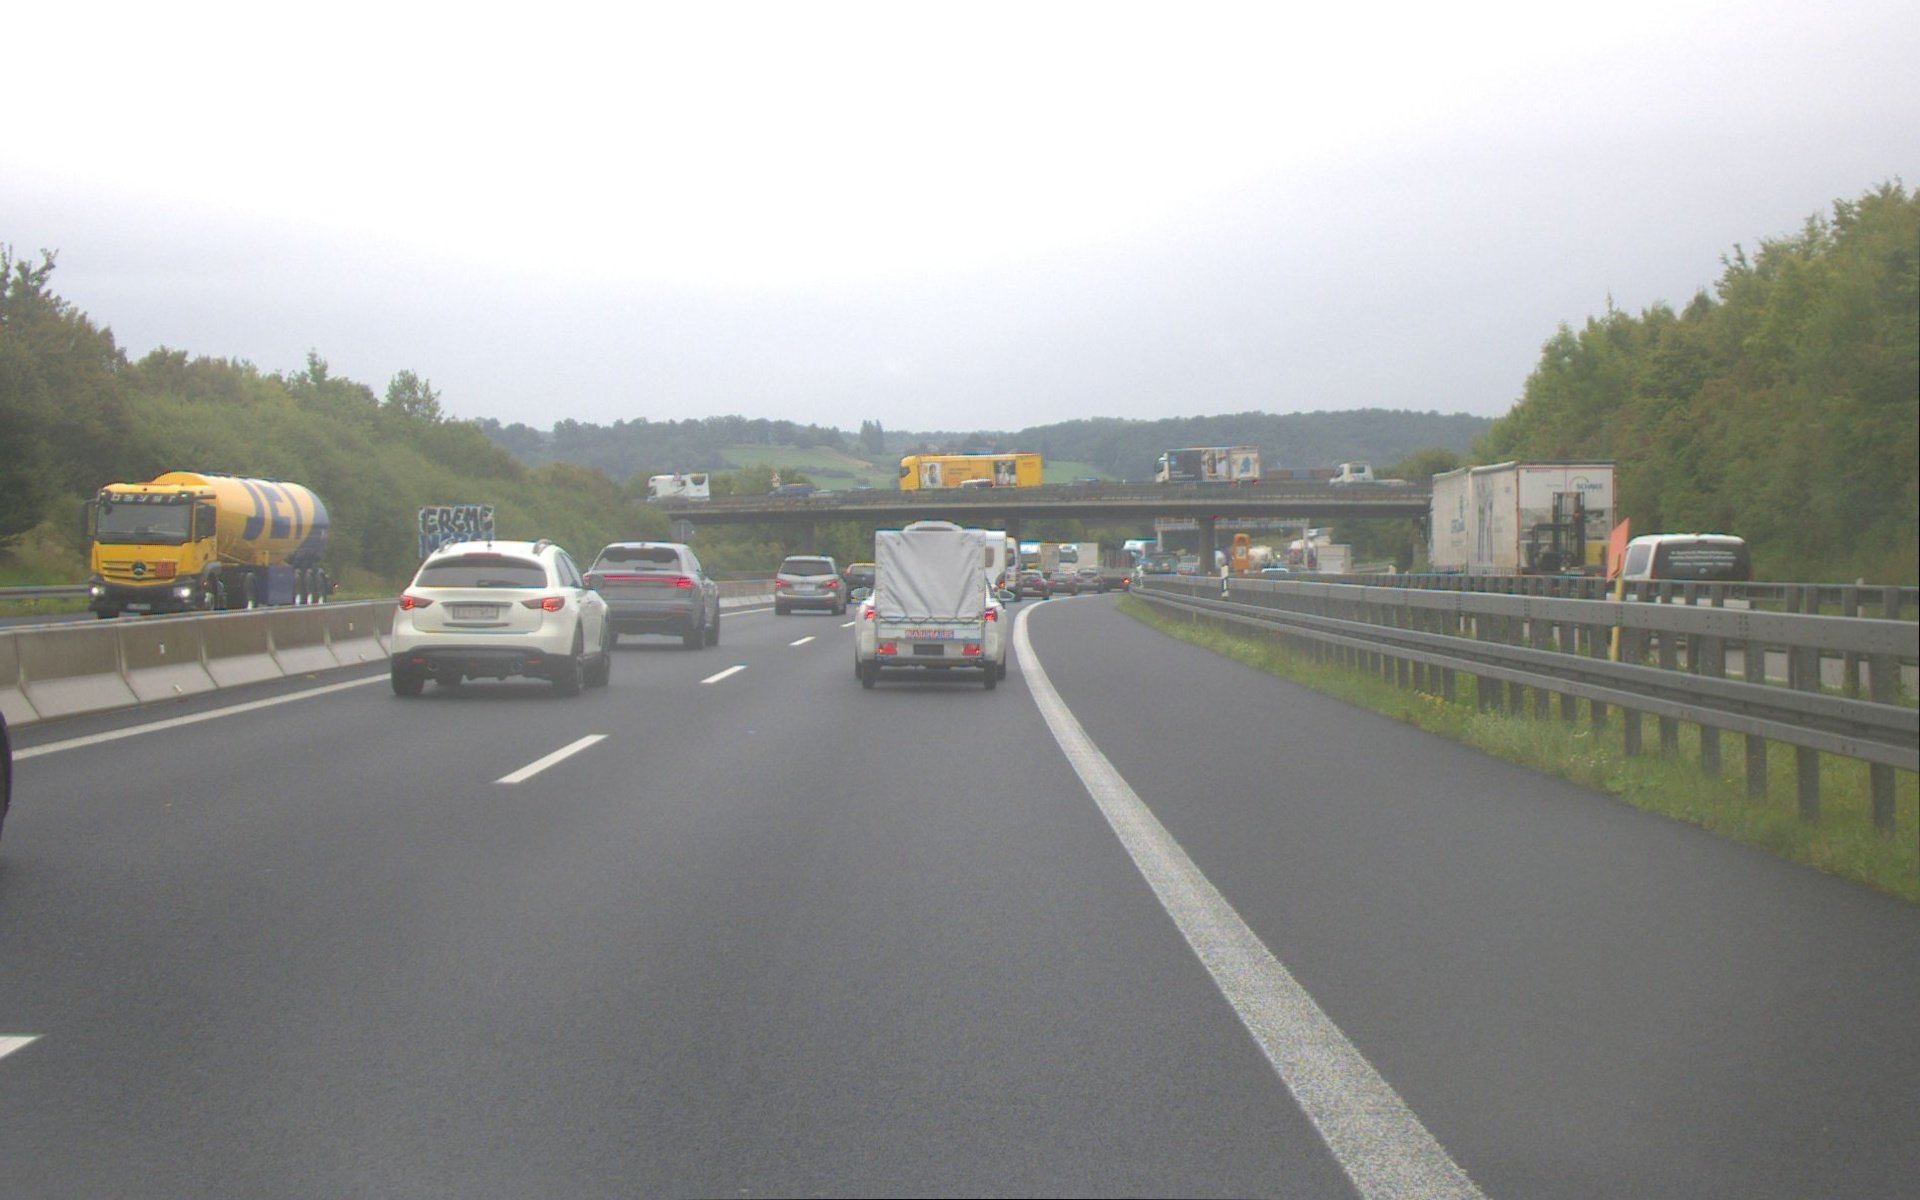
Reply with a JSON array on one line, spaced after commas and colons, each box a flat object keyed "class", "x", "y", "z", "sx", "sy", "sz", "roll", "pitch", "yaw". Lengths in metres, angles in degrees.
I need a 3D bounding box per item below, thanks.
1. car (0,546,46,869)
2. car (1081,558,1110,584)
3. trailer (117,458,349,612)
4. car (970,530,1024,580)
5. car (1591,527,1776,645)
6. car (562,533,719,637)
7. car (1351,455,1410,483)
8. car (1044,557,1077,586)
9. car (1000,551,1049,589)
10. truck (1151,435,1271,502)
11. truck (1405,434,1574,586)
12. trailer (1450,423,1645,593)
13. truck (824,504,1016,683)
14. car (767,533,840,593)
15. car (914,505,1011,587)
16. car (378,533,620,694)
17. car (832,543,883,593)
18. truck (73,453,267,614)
[{"class": "car", "x": -5.377, "y": 0.516, "z": 14.247, "sx": 1.900, "sy": 1.492, "sz": 4.852, "roll": 0, "pitch": 1, "yaw": 0}, {"class": "car", "x": 9.519, "y": -2.038, "z": 241.136, "sx": 1.994, "sy": 1.744, "sz": 4.000, "roll": 1, "pitch": 1, "yaw": 2}, {"class": "trailer", "x": -17.281, "y": -1.516, "z": 82.645, "sx": 2.762, "sy": 3.386, "sz": 11.447, "roll": 1, "pitch": 1, "yaw": 2}, {"class": "car", "x": 1.549, "y": -1.872, "z": 144.055, "sx": 1.993, "sy": 2.029, "sz": 4.152, "roll": 1, "pitch": 1, "yaw": -3}, {"class": "car", "x": 11.418, "y": -0.248, "z": 54.520, "sx": 1.860, "sy": 1.799, "sz": 4.648, "roll": 0, "pitch": 1, "yaw": -1}, {"class": "car", "x": -5.125, "y": -0.265, "z": 55.669, "sx": 2.174, "sy": 1.626, "sz": 4.501, "roll": 0, "pitch": 1, "yaw": -1}, {"class": "car", "x": 29.694, "y": -9.264, "z": 242.837, "sx": 1.837, "sy": 1.908, "sz": 3.999, "roll": 1, "pitch": 1, "yaw": -38}, {"class": "car", "x": 6.221, "y": -1.775, "z": 213.717, "sx": 1.993, "sy": 1.744, "sz": 4.000, "roll": 1, "pitch": 1, "yaw": 1}, {"class": "car", "x": 3.050, "y": -1.437, "z": 163.435, "sx": 1.993, "sy": 1.744, "sz": 4.001, "roll": 1, "pitch": 1, "yaw": -3}, {"class": "truck", "x": 18.863, "y": -9.874, "z": 259.199, "sx": 3.766, "sy": 4.819, "sz": 10.044, "roll": 0, "pitch": 1, "yaw": -32}, {"class": "truck", "x": 15.569, "y": -2.633, "z": 101.911, "sx": 3.437, "sy": 4.274, "sz": 10.418, "roll": 0, "pitch": 1, "yaw": 0}, {"class": "trailer", "x": 15.482, "y": -2.407, "z": 91.462, "sx": 3.437, "sy": 4.274, "sz": 10.454, "roll": 0, "pitch": 1, "yaw": 0}, {"class": "truck", "x": -0.386, "y": -0.140, "z": 41.663, "sx": 2.019, "sy": 1.979, "sz": 7.213, "roll": 0, "pitch": 1, "yaw": 2}, {"class": "car", "x": -4.241, "y": -1.024, "z": 93.480, "sx": 1.900, "sy": 1.607, "sz": 4.017, "roll": 0, "pitch": 1, "yaw": -1}, {"class": "car", "x": 0.124, "y": -1.793, "z": 112.749, "sx": 3.017, "sy": 2.607, "sz": 6.074, "roll": 0, "pitch": 1, "yaw": 2}, {"class": "car", "x": -4.917, "y": 0.107, "z": 37.272, "sx": 1.976, "sy": 1.633, "sz": 4.501, "roll": 0, "pitch": 1, "yaw": 1}, {"class": "car", "x": -3.757, "y": -1.194, "z": 126.102, "sx": 1.841, "sy": 1.813, "sz": 4.000, "roll": 0, "pitch": 1, "yaw": -1}, {"class": "truck", "x": -17.475, "y": -1.448, "z": 76.392, "sx": 2.762, "sy": 3.386, "sz": 5.845, "roll": 1, "pitch": 1, "yaw": 2}]
